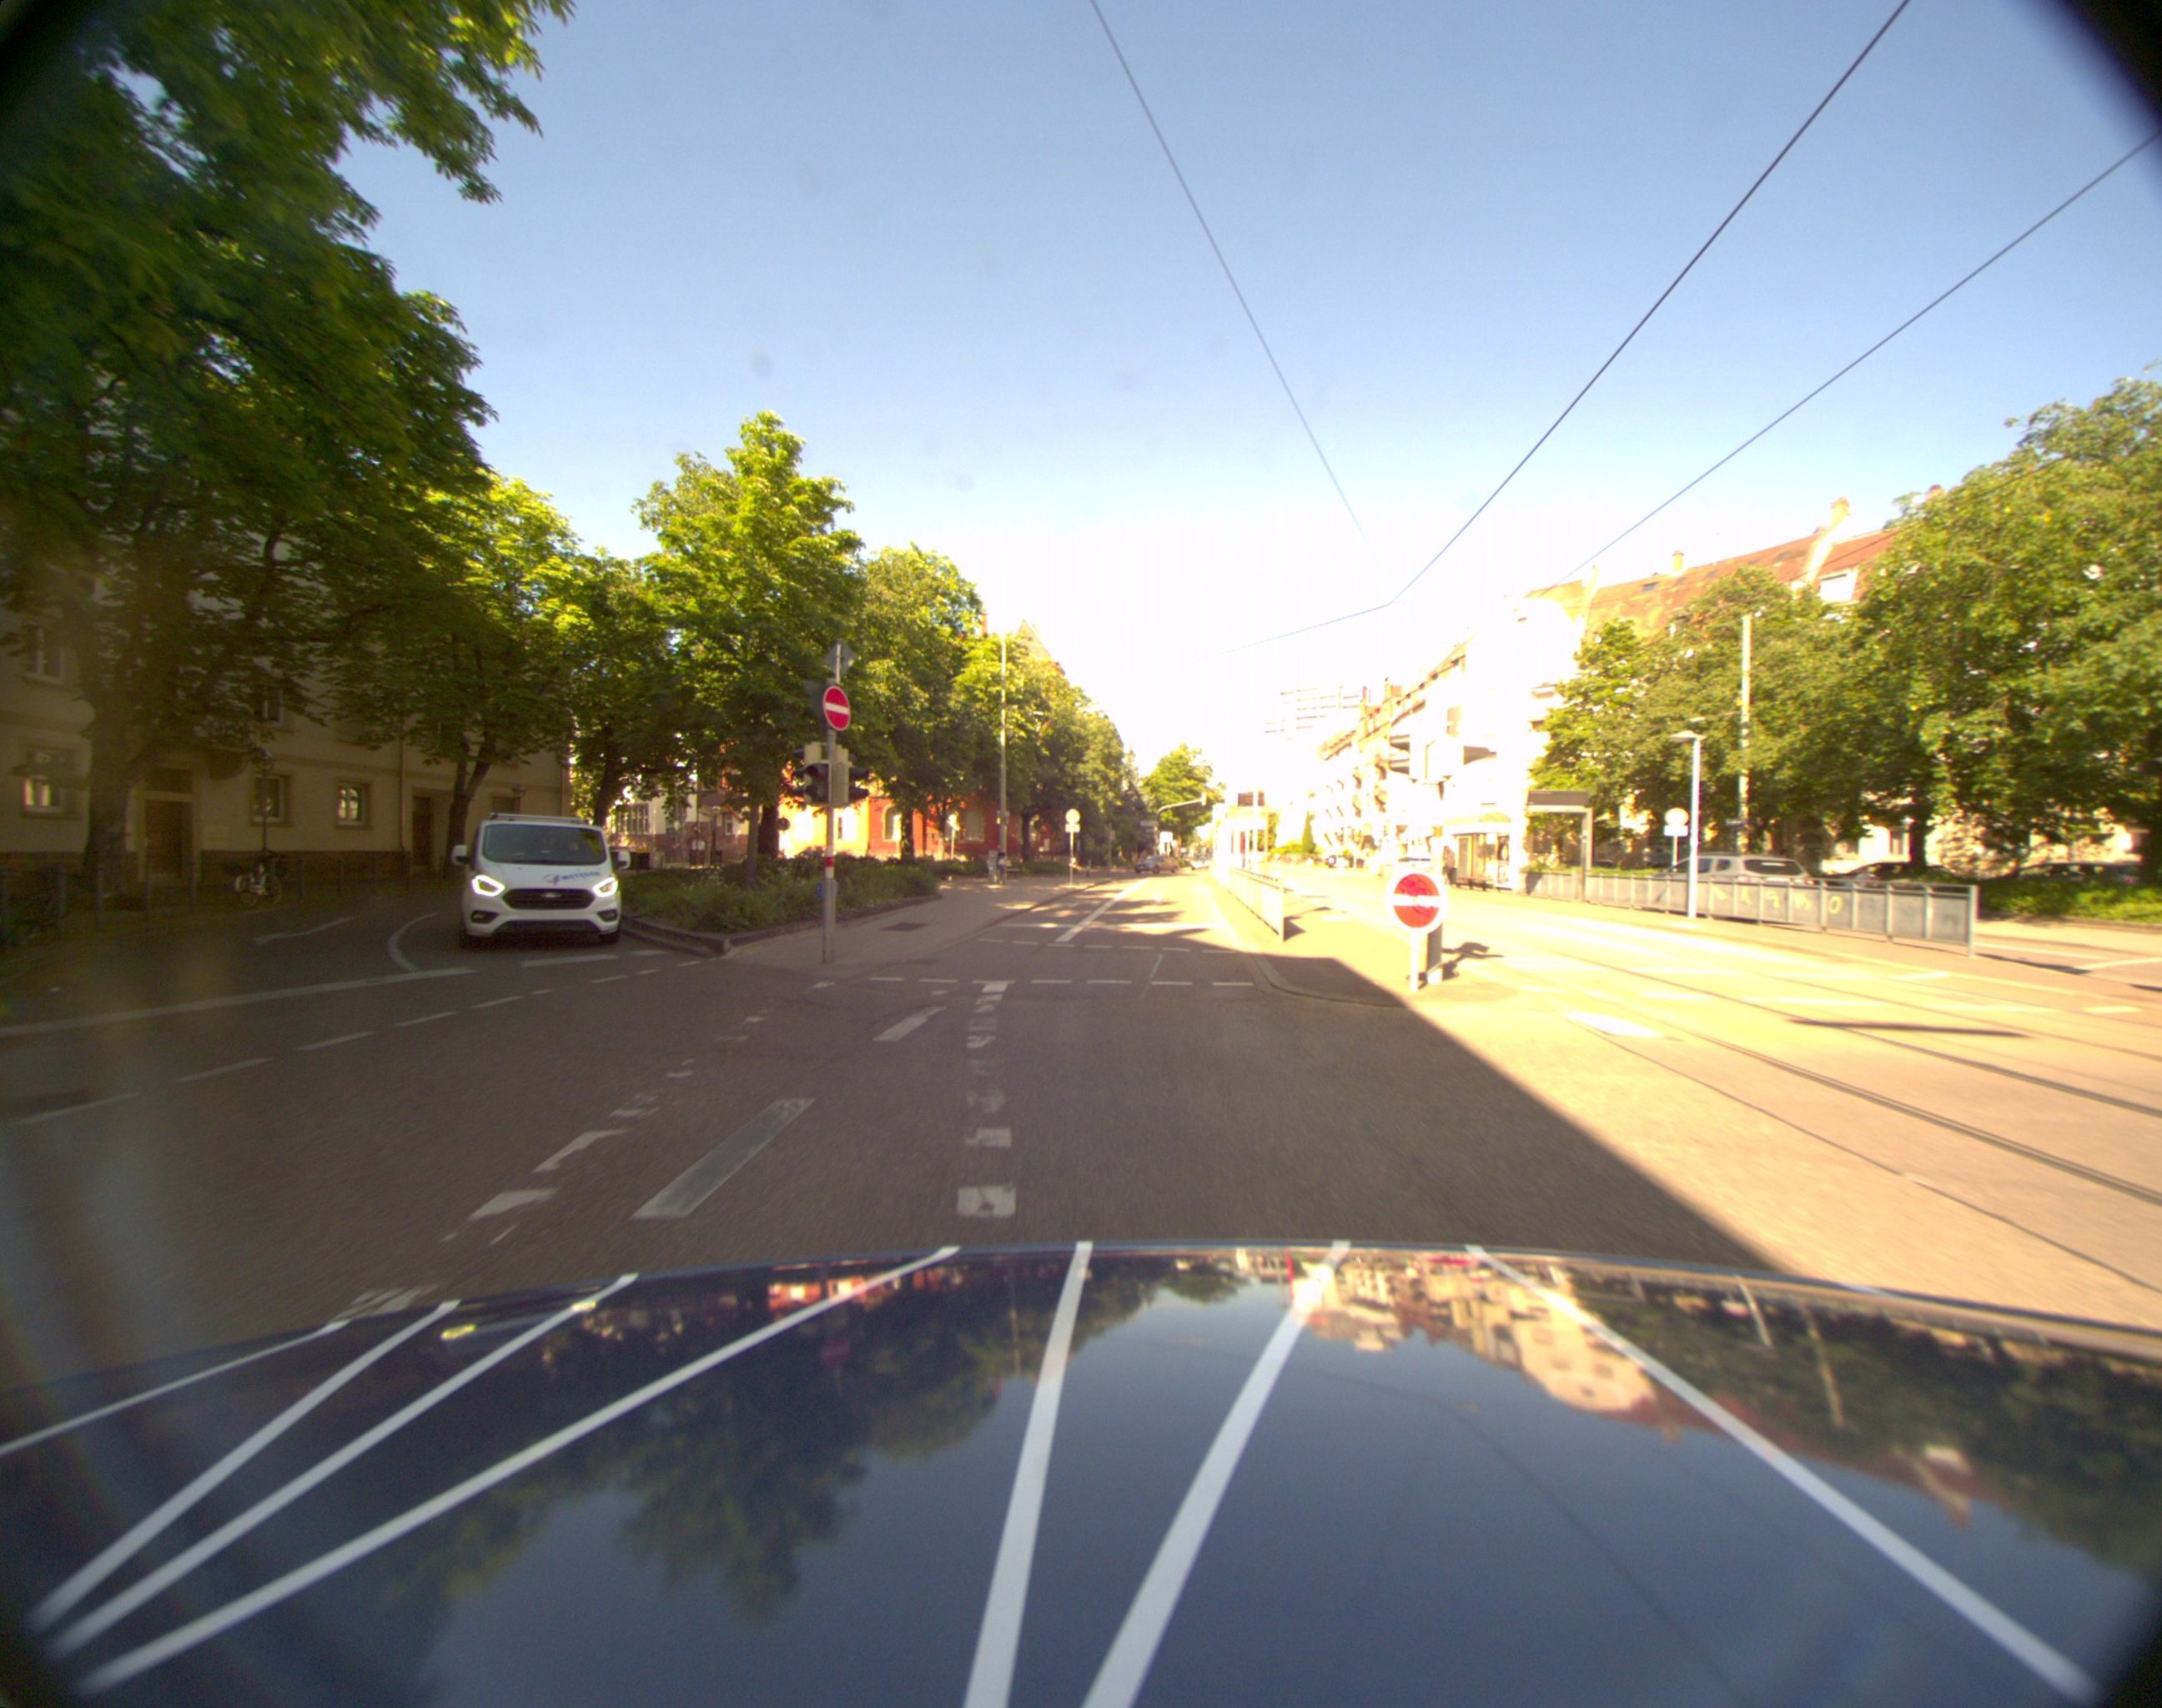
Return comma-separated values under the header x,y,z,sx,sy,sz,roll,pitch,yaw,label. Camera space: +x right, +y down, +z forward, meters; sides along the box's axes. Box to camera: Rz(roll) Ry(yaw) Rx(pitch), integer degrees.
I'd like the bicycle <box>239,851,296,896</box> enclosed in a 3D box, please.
x,y,z,sx,sy,sz,roll,pitch,yaw,label
-21.612,0.501,20.213,0.462,1.109,1.562,2,1,-26,bicycle

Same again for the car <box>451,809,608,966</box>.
x,y,z,sx,sy,sz,roll,pitch,yaw,label
-9.140,0.450,12.408,1.690,2.080,4.744,-1,1,-40,car

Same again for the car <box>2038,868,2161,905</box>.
x,y,z,sx,sy,sz,roll,pitch,yaw,label
34.829,1.041,25.479,1.467,1.089,3.144,-1,0,-1,car

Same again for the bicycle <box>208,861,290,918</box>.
x,y,z,sx,sy,sz,roll,pitch,yaw,label
-18.105,0.739,16.584,0.477,1.146,1.988,4,-2,-27,bicycle

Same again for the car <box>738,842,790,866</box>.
x,y,z,sx,sy,sz,roll,pitch,yaw,label
-23.054,-0.012,55.241,3.793,1.707,1.638,0,1,34,car

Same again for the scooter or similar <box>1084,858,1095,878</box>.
x,y,z,sx,sy,sz,roll,pitch,yaw,label
0.543,0.871,47.709,0.519,1.241,1.277,1,-1,9,scooter or similar

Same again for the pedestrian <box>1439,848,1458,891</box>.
x,y,z,sx,sy,sz,roll,pitch,yaw,label
15.276,0.635,31.568,0.466,1.774,0.674,1,1,7,pedestrian

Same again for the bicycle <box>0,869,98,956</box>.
x,y,z,sx,sy,sz,roll,pitch,yaw,label
-14.189,0.769,10.385,0.429,1.073,1.484,2,-1,-33,bicycle

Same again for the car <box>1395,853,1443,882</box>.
x,y,z,sx,sy,sz,roll,pitch,yaw,label
19.952,0.768,44.967,1.693,1.531,3.802,4,1,11,car

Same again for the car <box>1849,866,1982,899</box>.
x,y,z,sx,sy,sz,roll,pitch,yaw,label
34.267,1.119,31.335,1.527,1.208,3.455,-1,0,-7,car

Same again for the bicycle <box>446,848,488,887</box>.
x,y,z,sx,sy,sz,roll,pitch,yaw,label
-20.907,0.446,25.895,0.428,1.272,1.487,2,-1,-11,bicycle

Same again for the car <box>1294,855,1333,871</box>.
x,y,z,sx,sy,sz,roll,pitch,yaw,label
26.364,0.980,86.137,3.883,1.581,1.817,-1,5,3,car

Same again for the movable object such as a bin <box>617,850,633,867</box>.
x,y,z,sx,sy,sz,roll,pitch,yaw,label
-25.549,0.263,42.572,0.641,0.959,0.544,0,1,35,movable object such as a bin

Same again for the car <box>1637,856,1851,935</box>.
x,y,z,sx,sy,sz,roll,pitch,yaw,label
16.195,0.916,18.930,1.901,1.609,4.267,2,1,7,car

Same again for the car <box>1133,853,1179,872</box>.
x,y,z,sx,sy,sz,roll,pitch,yaw,label
5.752,0.612,58.152,1.722,1.390,3.620,0,0,40,car

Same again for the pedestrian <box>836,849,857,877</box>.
x,y,z,sx,sy,sz,roll,pitch,yaw,label
-10.269,0.382,33.265,0.450,1.224,1.041,-1,1,9,pedestrian

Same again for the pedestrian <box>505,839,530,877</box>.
x,y,z,sx,sy,sz,roll,pitch,yaw,label
-24.647,0.172,33.234,0.571,1.625,0.630,-1,1,7,pedestrian

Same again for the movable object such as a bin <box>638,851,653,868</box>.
x,y,z,sx,sy,sz,roll,pitch,yaw,label
-24.901,0.320,43.452,0.641,0.959,0.544,0,1,35,movable object such as a bin

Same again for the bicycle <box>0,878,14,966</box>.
x,y,z,sx,sy,sz,roll,pitch,yaw,label
-13.143,0.833,8.762,0.429,1.073,1.484,2,-1,-33,bicycle
